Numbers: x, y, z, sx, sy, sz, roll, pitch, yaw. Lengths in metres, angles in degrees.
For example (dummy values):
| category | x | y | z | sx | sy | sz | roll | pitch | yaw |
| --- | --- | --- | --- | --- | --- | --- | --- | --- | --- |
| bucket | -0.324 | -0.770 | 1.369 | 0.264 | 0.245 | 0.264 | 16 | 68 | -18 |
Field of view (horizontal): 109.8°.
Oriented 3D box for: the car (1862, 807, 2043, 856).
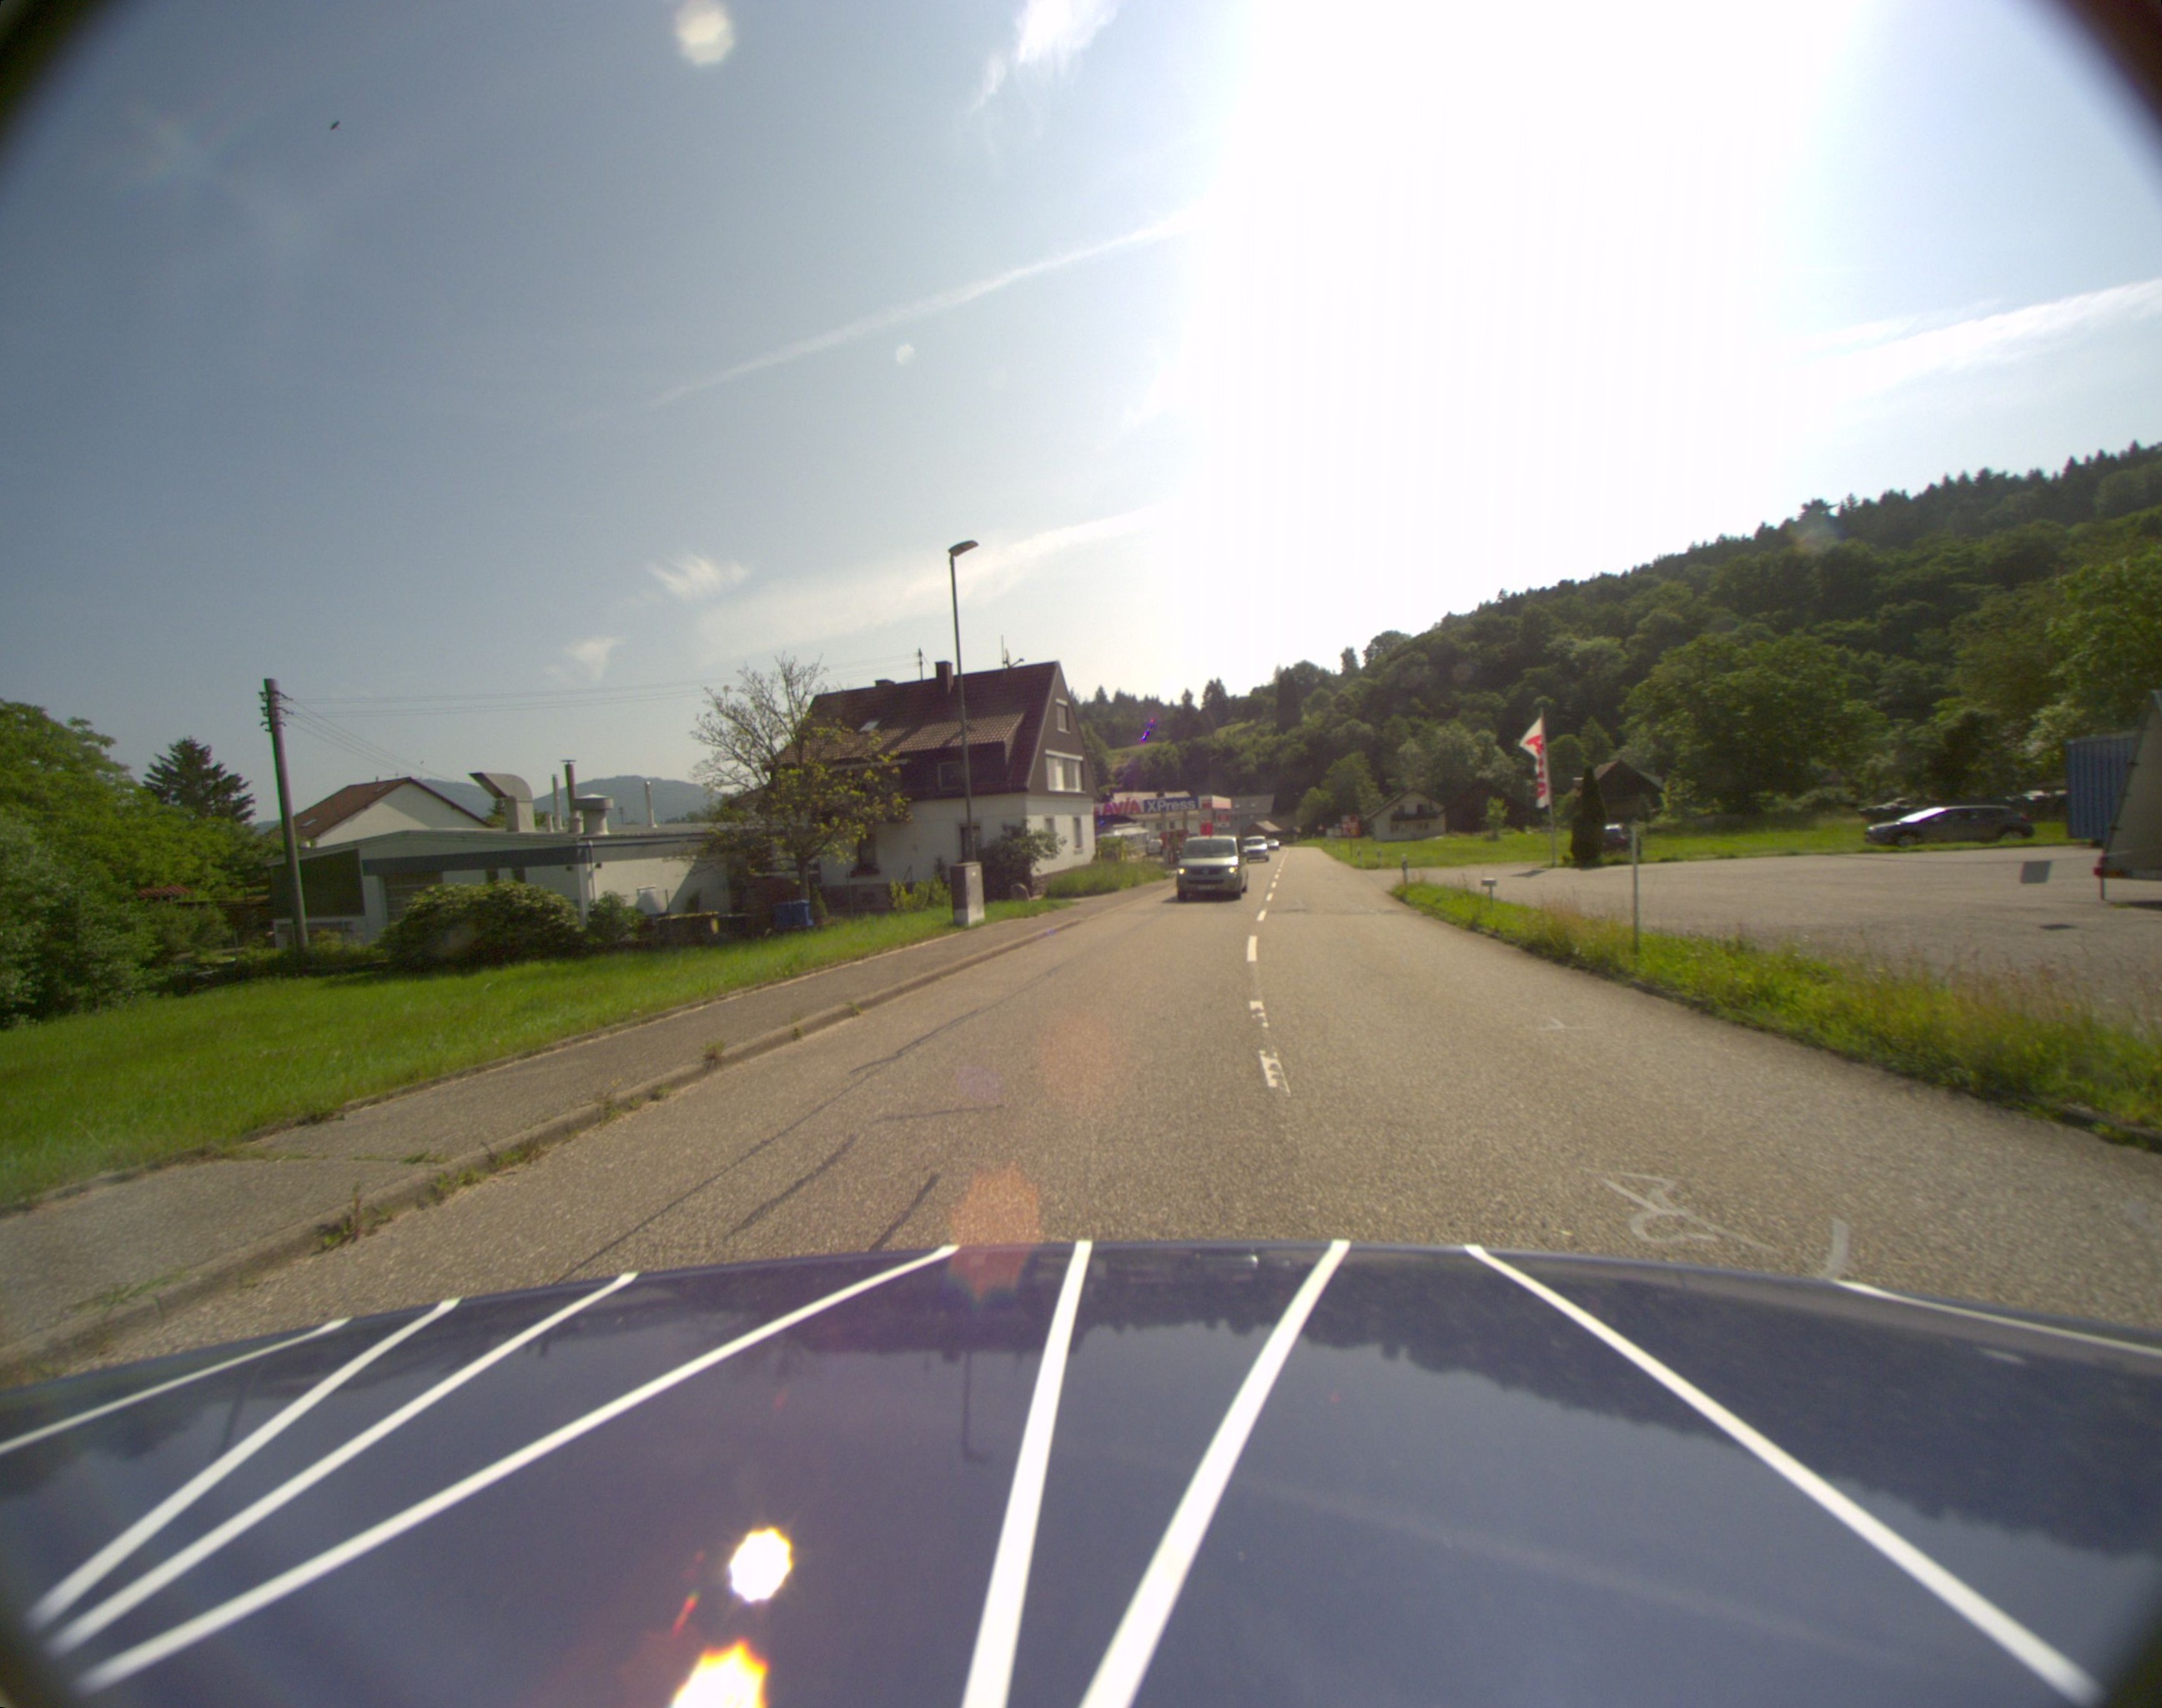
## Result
| category | x | y | z | sx | sy | sz | roll | pitch | yaw |
| --- | --- | --- | --- | --- | --- | --- | --- | --- | --- |
| car | 31.690 | -0.794 | 27.816 | 3.923 | 1.476 | 1.921 | -3 | 0 | 30 |

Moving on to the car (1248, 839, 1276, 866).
| category | x | y | z | sx | sy | sz | roll | pitch | yaw |
| --- | --- | --- | --- | --- | --- | --- | --- | --- | --- |
| car | 13.622 | -0.143 | 57.387 | 1.894 | 1.846 | 4.707 | -3 | 1 | 12 |

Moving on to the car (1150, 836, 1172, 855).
| category | x | y | z | sx | sy | sz | roll | pitch | yaw |
| --- | --- | --- | --- | --- | --- | --- | --- | --- | --- |
| car | 8.736 | -0.918 | 82.792 | 1.682 | 1.805 | 4.003 | -5 | 1 | 15 |

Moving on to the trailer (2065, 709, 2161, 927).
| category | x | y | z | sx | sy | sz | roll | pitch | yaw |
| --- | --- | --- | --- | --- | --- | --- | --- | --- | --- |
| trailer | 16.013 | -0.596 | 9.930 | 3.398 | 2.895 | 1.885 | -4 | 1 | 9 |

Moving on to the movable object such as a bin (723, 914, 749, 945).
| category | x | y | z | sx | sy | sz | roll | pitch | yaw |
| --- | --- | --- | --- | --- | --- | --- | --- | --- | --- |
| movable object such as a bin | -10.911 | 2.392 | 24.032 | 0.420 | 0.895 | 0.586 | -5 | 2 | 7 |

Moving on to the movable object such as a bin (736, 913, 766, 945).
| category | x | y | z | sx | sy | sz | roll | pitch | yaw |
| --- | --- | --- | --- | --- | --- | --- | --- | --- | --- |
| movable object such as a bin | -10.414 | 2.350 | 23.965 | 0.569 | 0.895 | 0.586 | -5 | 2 | 6 |

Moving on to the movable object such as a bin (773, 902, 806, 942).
| category | x | y | z | sx | sy | sz | roll | pitch | yaw |
| --- | --- | --- | --- | --- | --- | --- | --- | --- | --- |
| movable object such as a bin | -9.134 | 2.132 | 23.843 | 0.569 | 1.112 | 0.799 | -5 | 2 | 7 |

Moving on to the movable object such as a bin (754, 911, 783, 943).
| category | x | y | z | sx | sy | sz | roll | pitch | yaw |
| --- | --- | --- | --- | --- | --- | --- | --- | --- | --- |
| movable object such as a bin | -9.829 | 2.301 | 23.906 | 0.569 | 0.895 | 0.586 | -5 | 2 | 6 |

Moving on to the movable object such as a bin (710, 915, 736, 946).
| category | x | y | z | sx | sy | sz | roll | pitch | yaw |
| --- | --- | --- | --- | --- | --- | --- | --- | --- | --- |
| movable object such as a bin | -11.339 | 2.428 | 24.086 | 0.420 | 0.895 | 0.586 | -5 | 2 | 7 |

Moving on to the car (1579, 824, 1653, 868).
| category | x | y | z | sx | sy | sz | roll | pitch | yaw |
| --- | --- | --- | --- | --- | --- | --- | --- | --- | --- |
| car | 23.146 | -0.383 | 32.788 | 1.831 | 1.639 | 4.917 | -3 | 0 | 44 |

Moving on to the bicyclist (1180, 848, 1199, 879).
| category | x | y | z | sx | sy | sz | roll | pitch | yaw |
| --- | --- | --- | --- | --- | --- | --- | --- | --- | --- |
| bicyclist | 5.995 | 0.536 | 42.116 | 0.690 | 1.623 | 1.141 | -5 | -1 | -3 |

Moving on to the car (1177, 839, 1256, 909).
| category | x | y | z | sx | sy | sz | roll | pitch | yaw |
| --- | --- | --- | --- | --- | --- | --- | --- | --- | --- |
| car | 4.416 | 0.529 | 24.108 | 2.021 | 1.970 | 5.053 | -1 | 1 | 15 |

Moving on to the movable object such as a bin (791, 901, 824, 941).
| category | x | y | z | sx | sy | sz | roll | pitch | yaw |
| --- | --- | --- | --- | --- | --- | --- | --- | --- | --- |
| movable object such as a bin | -8.545 | 2.082 | 23.785 | 0.569 | 1.112 | 0.793 | -5 | 2 | 7 |

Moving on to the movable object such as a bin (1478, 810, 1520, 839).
| category | x | y | z | sx | sy | sz | roll | pitch | yaw |
| --- | --- | --- | --- | --- | --- | --- | --- | --- | --- |
| movable object such as a bin | 49.646 | -3.465 | 90.201 | 4.182 | 3.119 | 2.206 | -3 | 1 | 30 |

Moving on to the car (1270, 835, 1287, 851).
| category | x | y | z | sx | sy | sz | roll | pitch | yaw |
| --- | --- | --- | --- | --- | --- | --- | --- | --- | --- |
| car | 24.787 | -1.367 | 95.198 | 1.765 | 1.736 | 3.983 | -4 | 2 | 18 |

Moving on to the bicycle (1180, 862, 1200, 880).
| category | x | y | z | sx | sy | sz | roll | pitch | yaw |
| --- | --- | --- | --- | --- | --- | --- | --- | --- | --- |
| bicycle | 6.019 | 0.929 | 42.064 | 0.690 | 0.912 | 1.950 | -5 | -1 | -2 |
